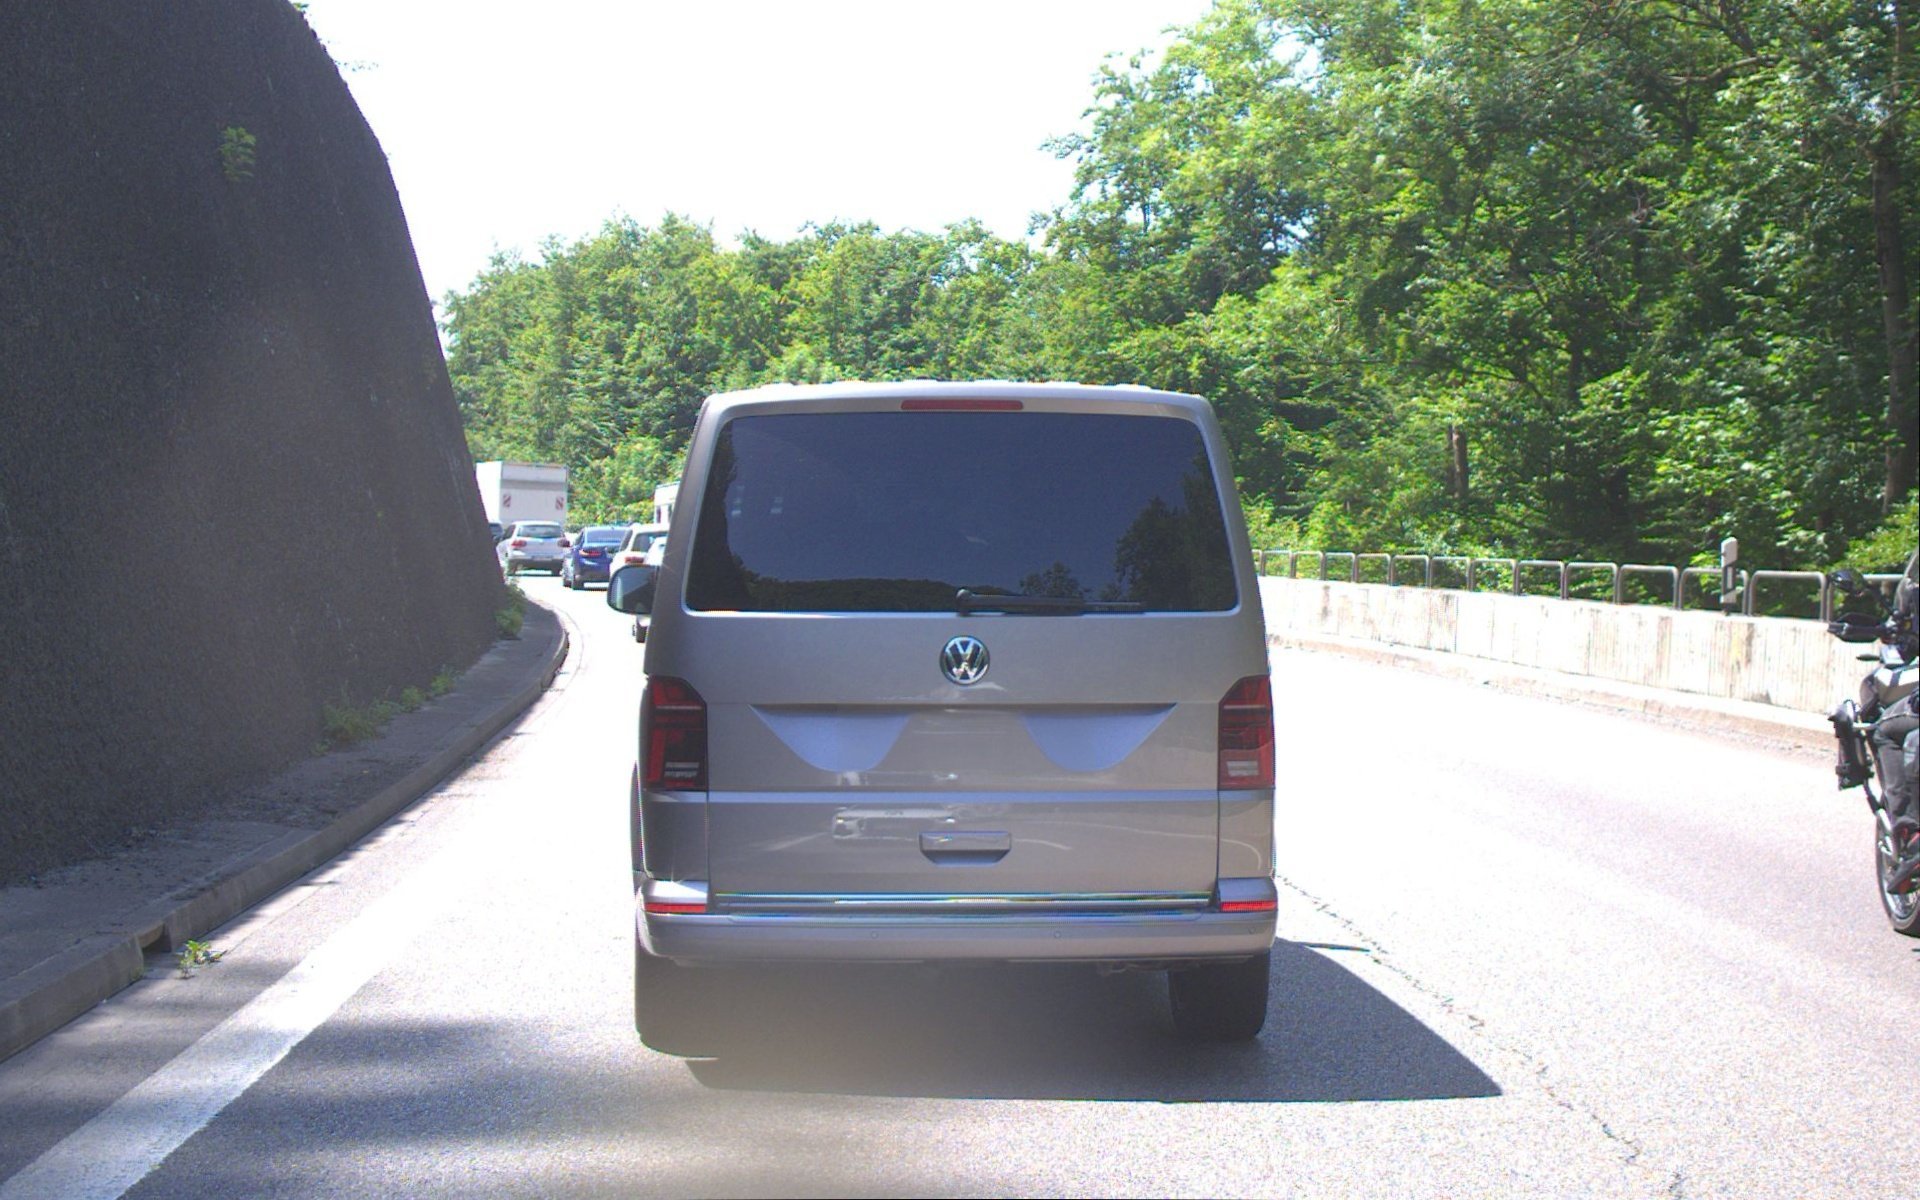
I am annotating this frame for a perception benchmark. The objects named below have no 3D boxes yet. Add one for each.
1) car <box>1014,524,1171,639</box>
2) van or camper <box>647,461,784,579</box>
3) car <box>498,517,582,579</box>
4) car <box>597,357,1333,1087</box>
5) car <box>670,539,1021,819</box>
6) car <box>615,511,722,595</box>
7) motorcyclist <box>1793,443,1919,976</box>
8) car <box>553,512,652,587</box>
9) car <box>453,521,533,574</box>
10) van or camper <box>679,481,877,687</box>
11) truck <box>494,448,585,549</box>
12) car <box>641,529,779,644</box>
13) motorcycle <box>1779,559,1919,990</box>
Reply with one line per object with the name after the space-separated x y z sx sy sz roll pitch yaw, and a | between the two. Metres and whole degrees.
1.787 -0.290 47.595 1.684 1.453 4.001 2 1 -4 | car
-6.610 -2.183 92.250 2.603 2.845 6.338 5 1 -12 | van or camper
-11.310 -1.422 92.800 1.993 1.612 4.001 1 1 -4 | car
-0.019 0.284 11.647 1.940 1.924 4.695 1 1 -1 | car
-0.814 0.406 21.429 1.904 1.484 4.380 2 1 -5 | car
-5.511 -0.898 64.598 1.862 1.481 4.001 1 1 -7 | car
3.689 0.367 12.265 1.060 1.794 1.338 1 1 0 | motorcyclist
-8.173 -1.166 78.386 1.857 1.614 4.001 1 1 -11 | car
-14.408 -1.631 105.895 1.750 1.565 3.772 1 1 -18 | car
-1.862 -0.193 34.589 1.853 1.935 4.166 1 1 -4 | van or camper
-16.028 -3.838 130.696 2.924 3.674 7.727 0 1 -11 | truck
-3.440 -0.215 46.812 1.771 1.467 4.001 1 1 -5 | car
3.703 0.583 12.175 0.972 1.415 2.681 1 1 1 | motorcycle
